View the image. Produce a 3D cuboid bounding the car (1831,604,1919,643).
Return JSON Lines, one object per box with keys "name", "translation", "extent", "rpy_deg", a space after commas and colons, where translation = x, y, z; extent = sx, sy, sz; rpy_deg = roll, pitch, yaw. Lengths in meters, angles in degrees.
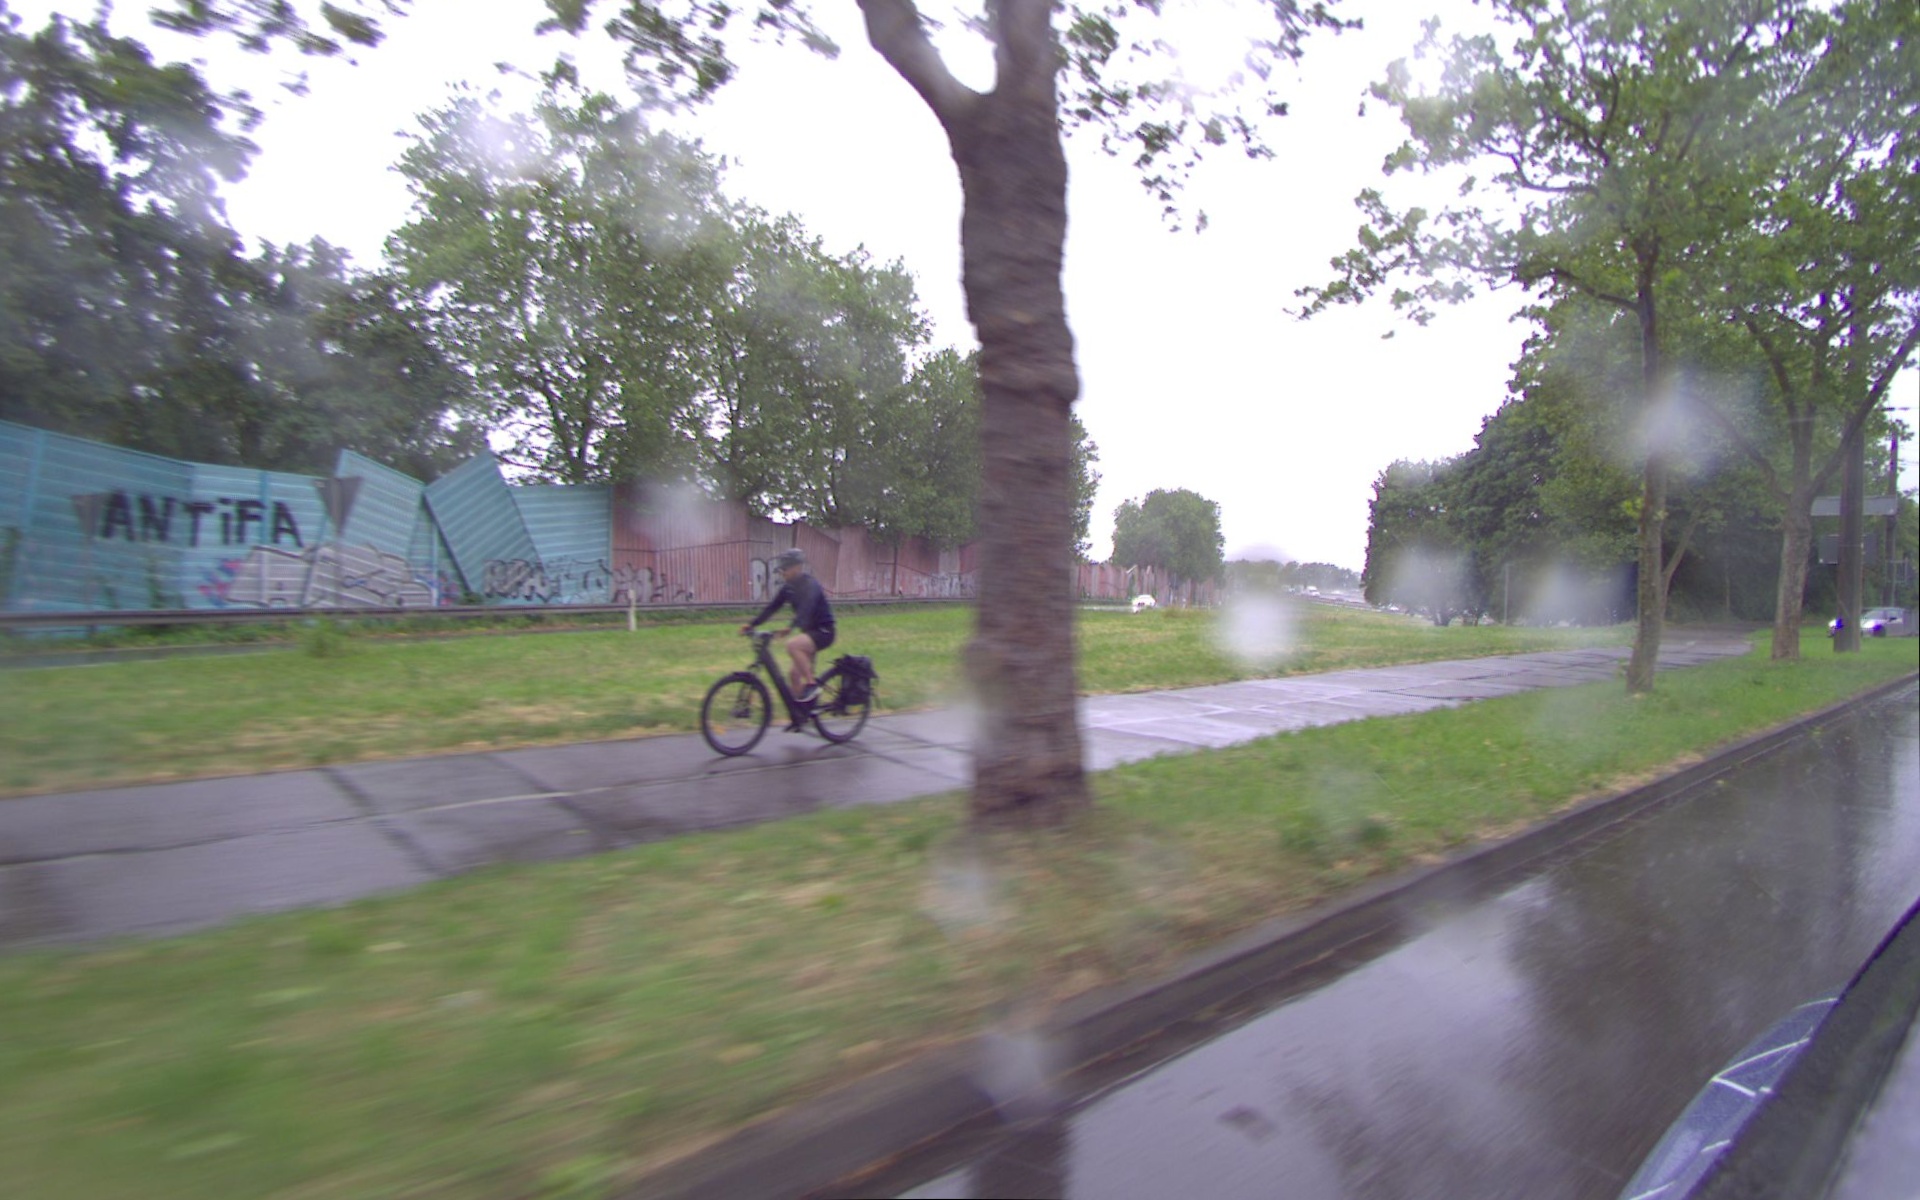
{"name": "car", "translation": [37.992, 0.955, 41.256], "extent": [3.916, 1.437, 1.756], "rpy_deg": [1, 2, -14]}
